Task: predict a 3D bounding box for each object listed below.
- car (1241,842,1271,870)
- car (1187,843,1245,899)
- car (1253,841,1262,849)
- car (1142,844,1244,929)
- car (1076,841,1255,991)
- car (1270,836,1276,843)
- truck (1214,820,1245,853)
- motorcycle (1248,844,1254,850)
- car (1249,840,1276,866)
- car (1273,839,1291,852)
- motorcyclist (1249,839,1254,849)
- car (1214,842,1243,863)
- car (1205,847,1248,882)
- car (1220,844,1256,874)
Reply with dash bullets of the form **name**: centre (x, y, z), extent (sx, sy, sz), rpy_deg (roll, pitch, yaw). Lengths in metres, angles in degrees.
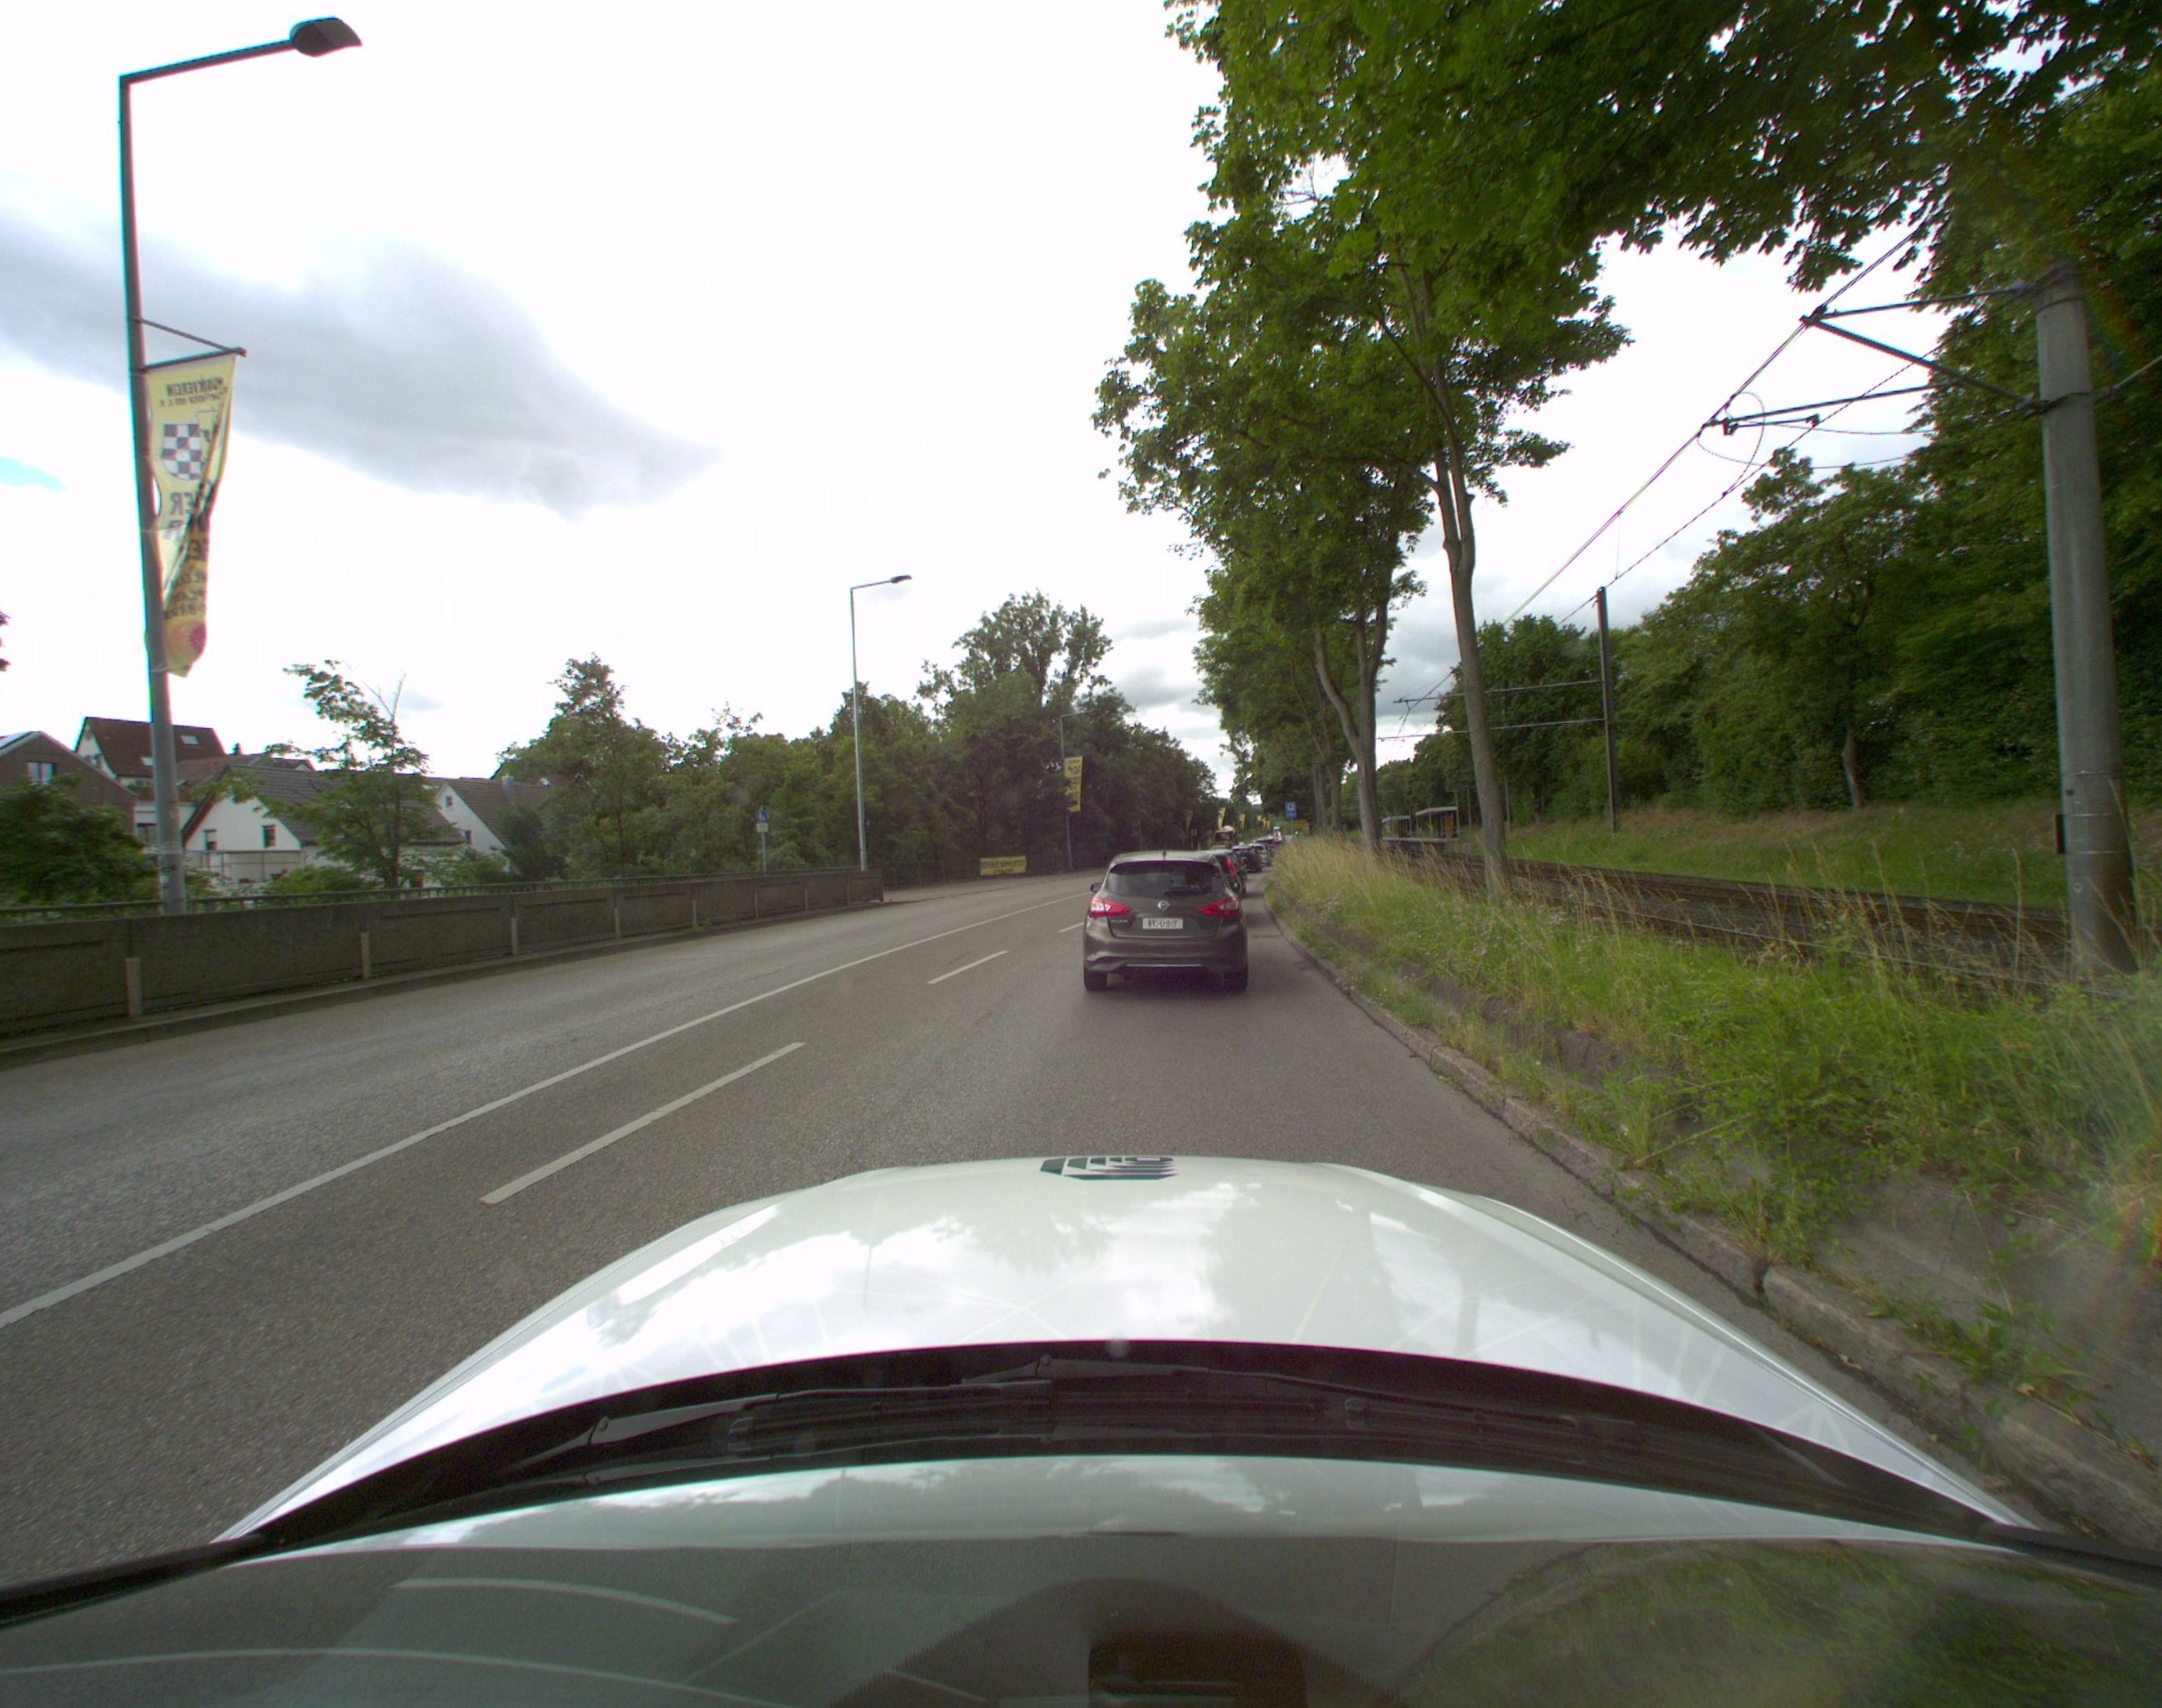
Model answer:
- **car**: centre (11.550, 0.179, 53.647), extent (1.706, 1.693, 4.015), rpy_deg (-3, -2, 14)
- **car**: centre (4.291, 0.504, 25.542), extent (1.568, 1.538, 4.012), rpy_deg (-3, -1, 11)
- **car**: centre (35.153, -1.844, 162.227), extent (1.709, 1.442, 4.015), rpy_deg (-3, -1, 14)
- **car**: centre (2.417, 0.646, 17.508), extent (1.882, 1.574, 4.009), rpy_deg (-2, -1, 8)
- **car**: centre (1.070, 0.651, 10.154), extent (1.765, 1.494, 4.007), rpy_deg (-1, -1, 7)
- **car**: centre (54.738, -4.127, 232.238), extent (1.706, 1.693, 3.739), rpy_deg (-3, -2, 14)
- **truck**: centre (18.983, -2.139, 103.695), extent (2.634, 3.938, 10.157), rpy_deg (-2, 0, 17)
- **motorcycle**: centre (28.173, -1.139, 134.733), extent (0.739, 1.033, 1.896), rpy_deg (-2, 0, 16)
- **car**: centre (14.857, -0.118, 66.391), extent (1.876, 2.013, 4.017), rpy_deg (-2, 0, 15)
- **car**: centre (23.543, -0.997, 95.509), extent (1.876, 1.445, 3.823), rpy_deg (-2, 0, 15)
- **motorcyclist**: centre (28.170, -1.623, 134.795), extent (0.739, 1.539, 0.794), rpy_deg (-2, 0, 16)
- **car**: centre (11.582, -0.120, 63.791), extent (1.838, 1.486, 4.437), rpy_deg (-3, -1, 14)
- **car**: centre (6.399, 0.434, 35.566), extent (1.489, 1.364, 3.601), rpy_deg (-3, -1, 14)
- **car**: centre (8.428, 0.267, 43.597), extent (1.793, 1.540, 4.013), rpy_deg (-1, 0, 11)
